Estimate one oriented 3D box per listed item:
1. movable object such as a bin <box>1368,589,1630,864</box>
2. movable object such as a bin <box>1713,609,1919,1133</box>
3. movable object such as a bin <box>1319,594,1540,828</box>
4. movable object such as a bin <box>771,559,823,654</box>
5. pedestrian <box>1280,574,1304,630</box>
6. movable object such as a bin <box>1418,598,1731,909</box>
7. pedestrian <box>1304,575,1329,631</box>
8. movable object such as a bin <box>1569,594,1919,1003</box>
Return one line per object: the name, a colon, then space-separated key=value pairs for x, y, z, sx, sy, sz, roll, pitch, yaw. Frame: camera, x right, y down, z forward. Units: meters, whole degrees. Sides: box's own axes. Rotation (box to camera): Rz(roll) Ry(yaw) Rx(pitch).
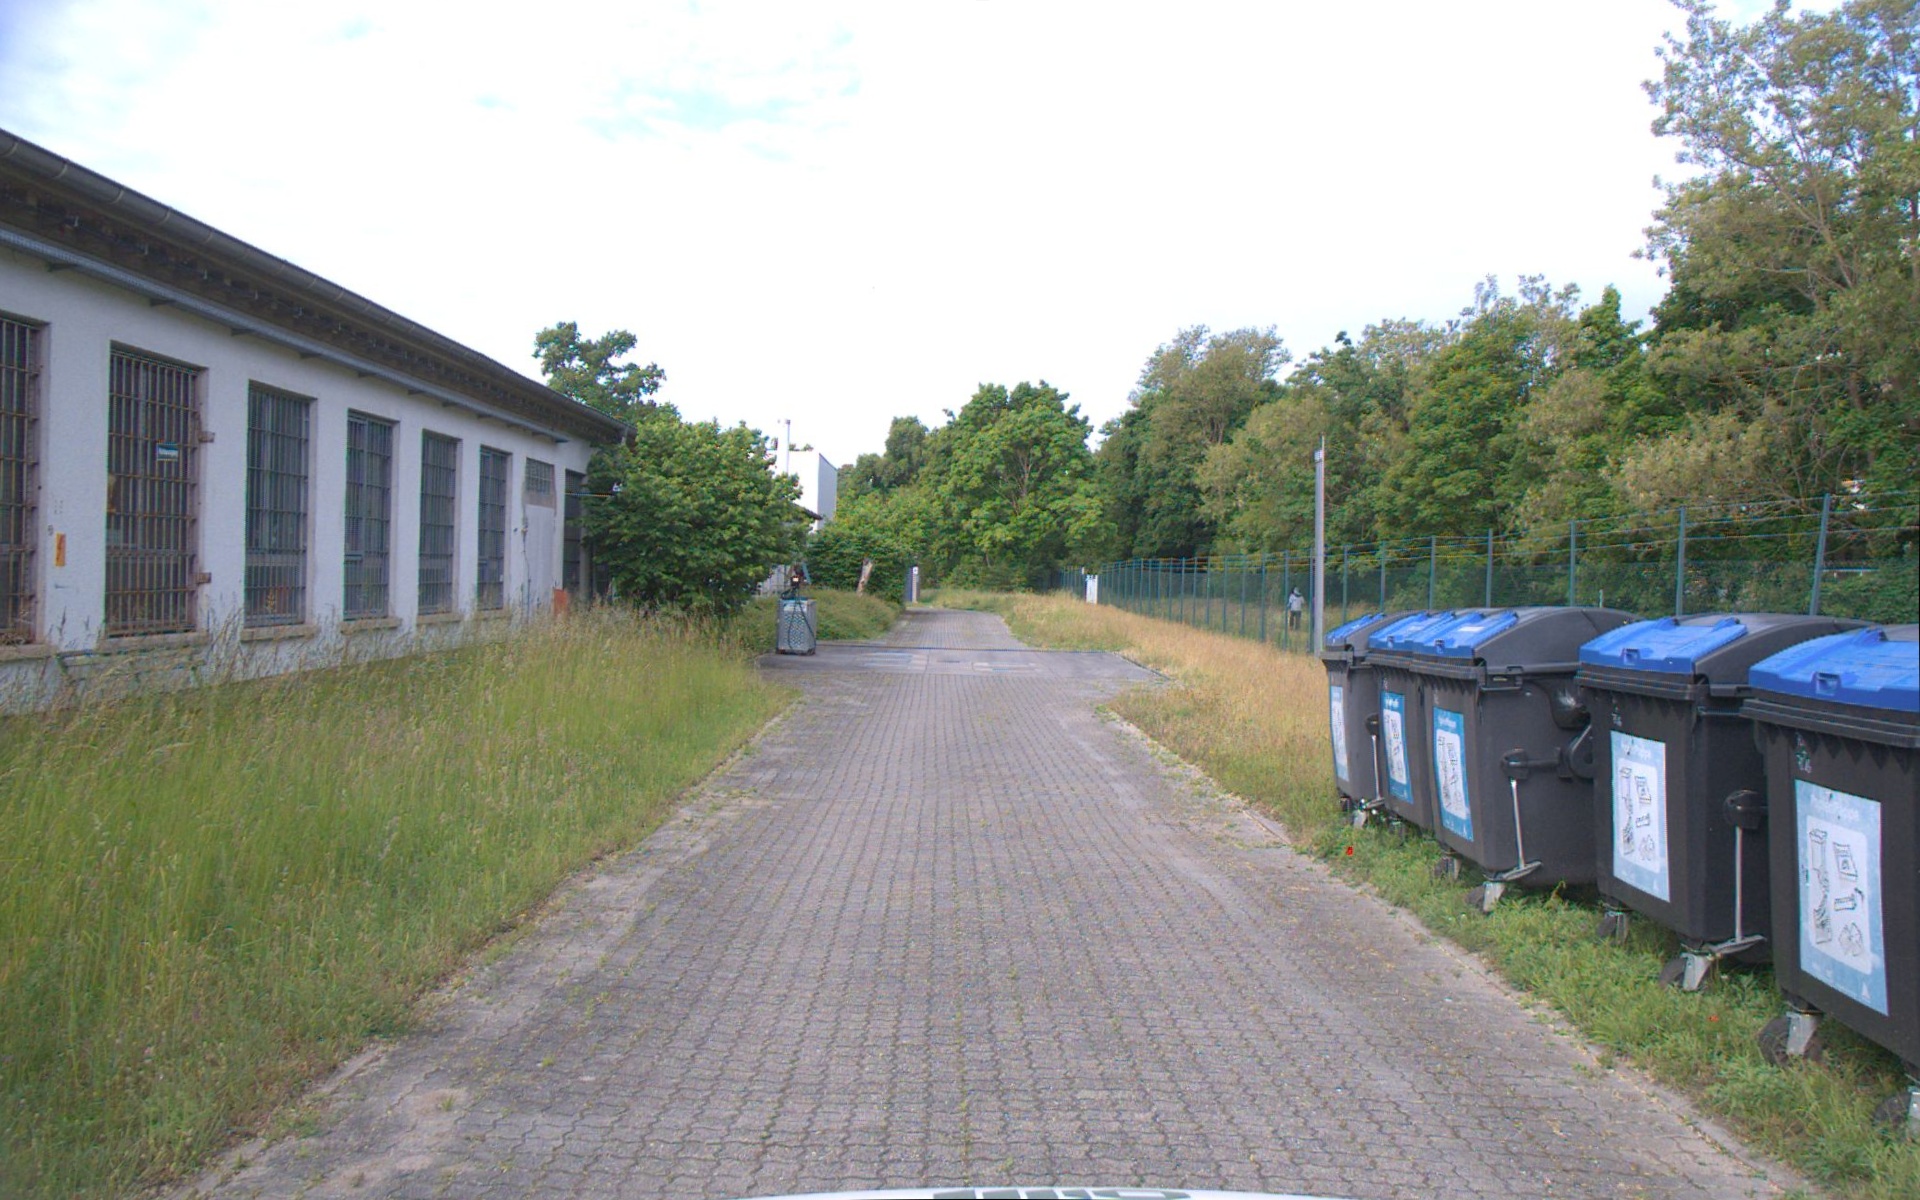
movable object such as a bin: x=2.983 y=0.661 z=9.322 sx=1.099 sy=1.403 sz=1.326 roll=2 pitch=0 yaw=5
movable object such as a bin: x=3.119 y=0.719 z=4.936 sx=1.130 sy=1.348 sz=1.494 roll=2 pitch=0 yaw=5
movable object such as a bin: x=2.985 y=0.669 z=10.698 sx=1.099 sy=1.374 sz=1.427 roll=2 pitch=0 yaw=5
movable object such as a bin: x=-3.525 y=0.136 z=35.842 sx=0.915 sy=2.017 sz=0.854 roll=1 pitch=0 yaw=8
pedestrian: x=12.264 y=0.053 z=61.117 sx=0.744 sy=2.049 sz=0.664 roll=1 pitch=0 yaw=-2
movable object such as a bin: x=2.910 y=0.678 z=8.019 sx=1.099 sy=1.344 sz=1.326 roll=1 pitch=0 yaw=5
pedestrian: x=13.054 y=0.098 z=60.626 sx=0.744 sy=2.049 sz=0.664 roll=1 pitch=0 yaw=-2
movable object such as a bin: x=3.188 y=0.698 z=6.518 sx=1.099 sy=1.398 sz=1.494 roll=2 pitch=0 yaw=5
